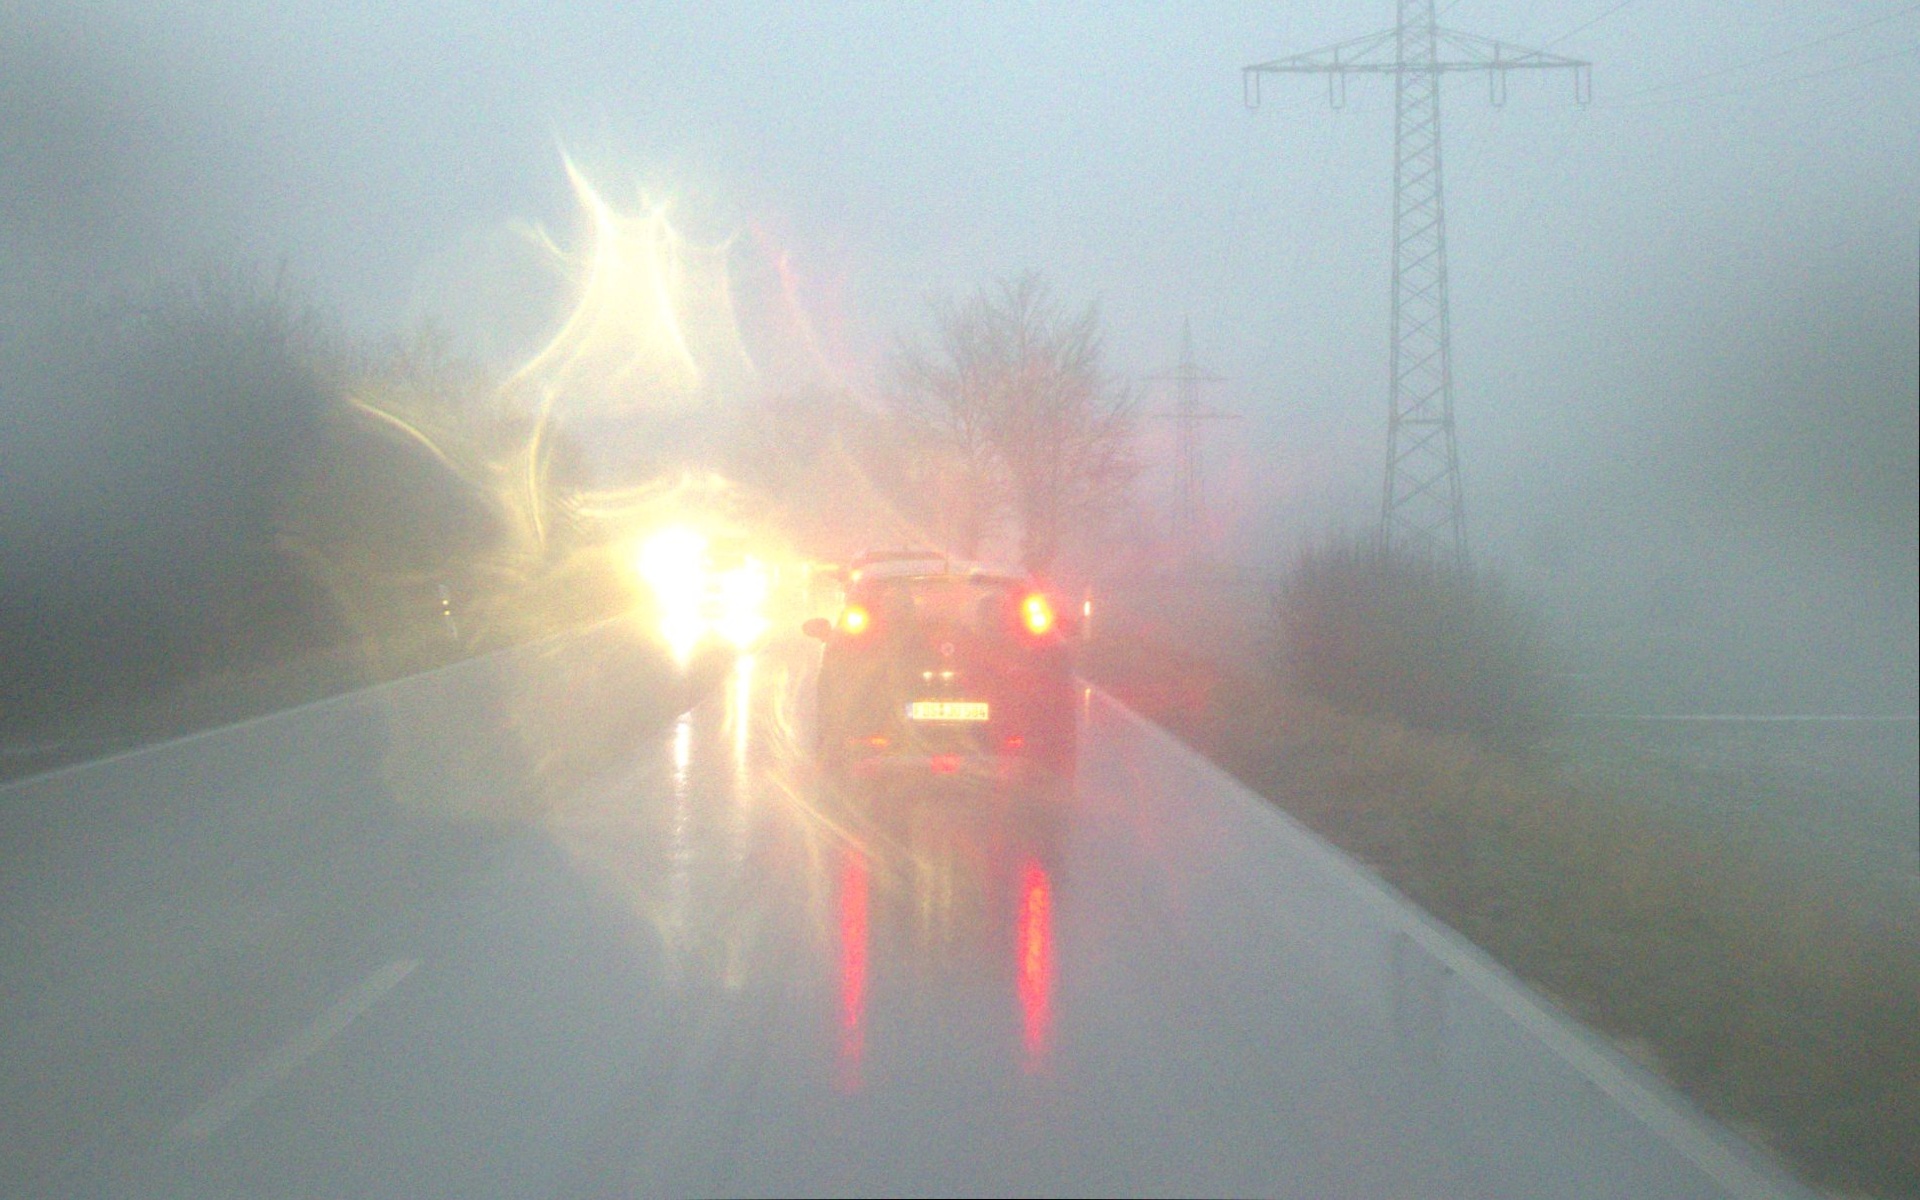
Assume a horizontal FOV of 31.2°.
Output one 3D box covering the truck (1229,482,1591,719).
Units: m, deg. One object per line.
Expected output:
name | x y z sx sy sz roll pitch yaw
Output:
truck | 5.333 -0.054 42.899 2.503 2.562 10.807 1 1 -3

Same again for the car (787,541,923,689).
car | -1.485 0.184 49.274 1.852 2.007 4.000 1 1 -1

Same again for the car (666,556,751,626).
car | -5.720 -0.230 78.660 1.688 1.502 4.413 0 1 -1

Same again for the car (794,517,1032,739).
car | -0.331 0.160 23.496 1.500 1.393 3.200 1 1 -1
